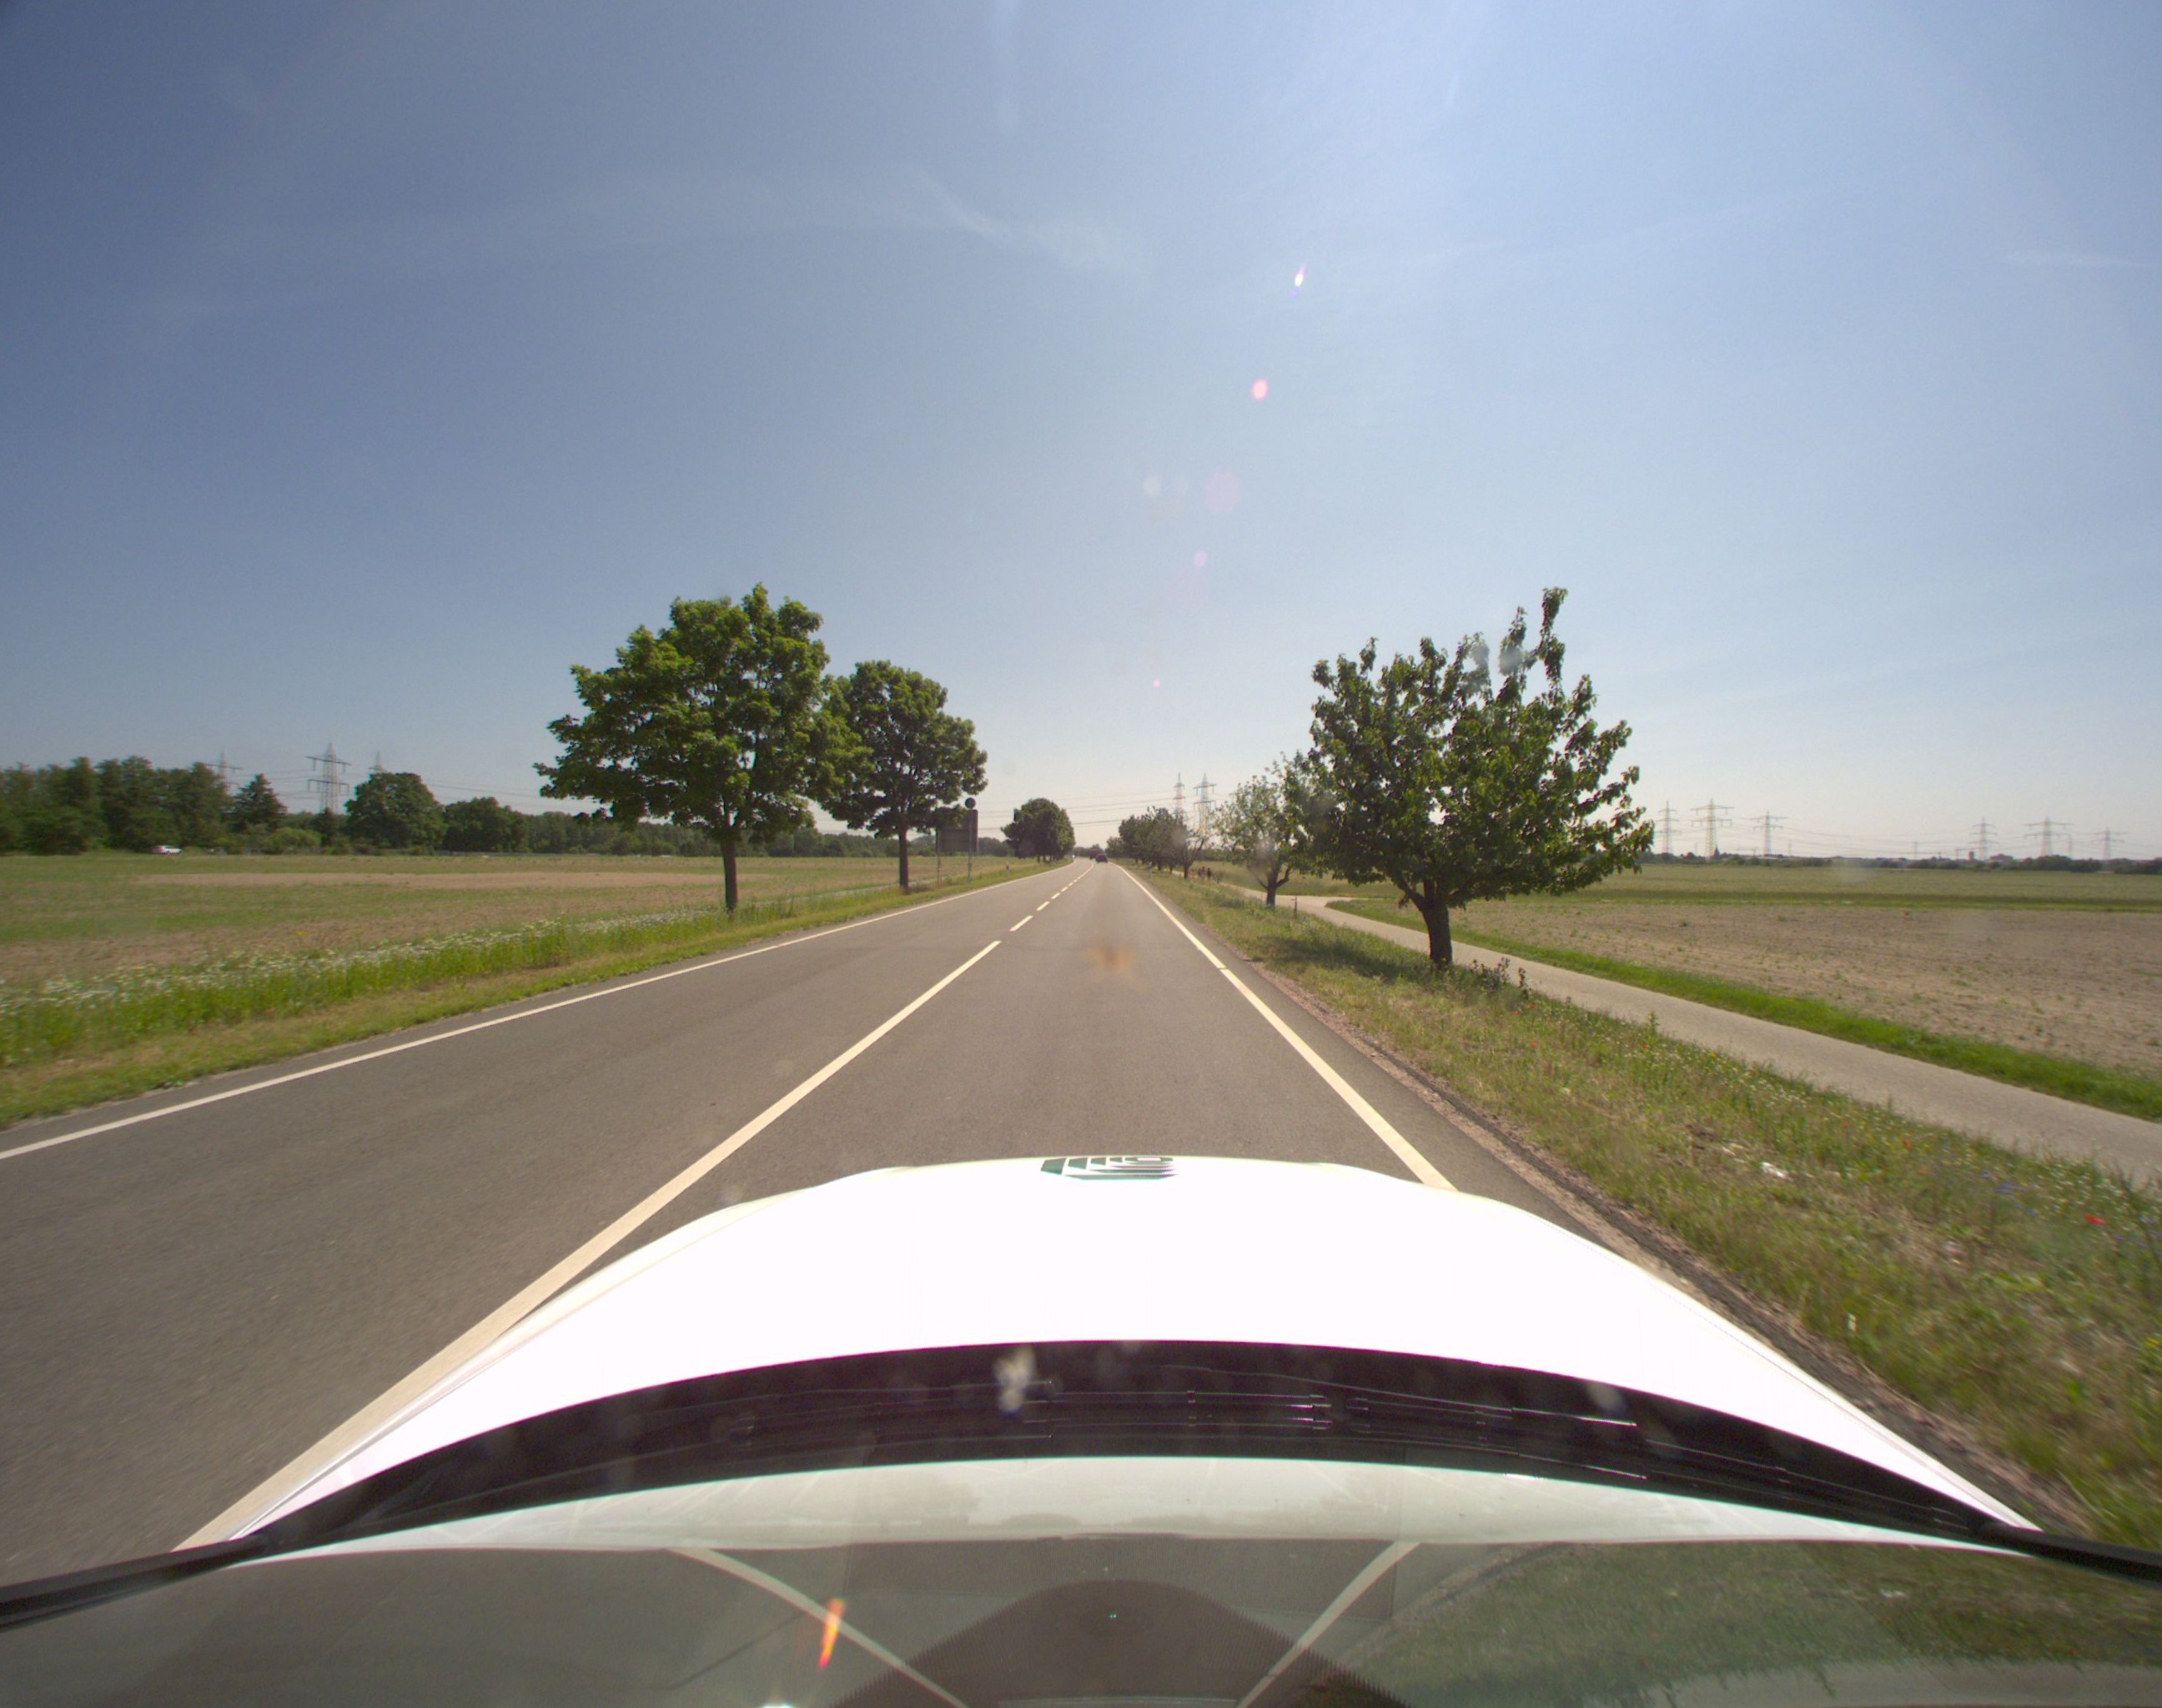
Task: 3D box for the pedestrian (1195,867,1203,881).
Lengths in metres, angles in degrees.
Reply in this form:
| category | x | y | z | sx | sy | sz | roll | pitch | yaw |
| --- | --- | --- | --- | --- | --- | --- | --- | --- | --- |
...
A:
| category | x | y | z | sx | sy | sz | roll | pitch | yaw |
| --- | --- | --- | --- | --- | --- | --- | --- | --- | --- |
| pedestrian | 10.648 | 1.797 | 73.483 | 0.481 | 1.295 | 0.445 | 0 | 0 | 34 |

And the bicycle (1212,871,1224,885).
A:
| category | x | y | z | sx | sy | sz | roll | pitch | yaw |
| --- | --- | --- | --- | --- | --- | --- | --- | --- | --- |
| bicycle | 11.766 | 2.086 | 70.001 | 0.476 | 1.165 | 1.675 | 0 | 0 | -13 |

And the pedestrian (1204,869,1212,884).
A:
| category | x | y | z | sx | sy | sz | roll | pitch | yaw |
| --- | --- | --- | --- | --- | --- | --- | --- | --- | --- |
| pedestrian | 11.377 | 2.017 | 72.885 | 0.444 | 1.295 | 0.481 | 0 | 0 | -43 |

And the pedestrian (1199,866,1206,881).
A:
| category | x | y | z | sx | sy | sz | roll | pitch | yaw |
| --- | --- | --- | --- | --- | --- | --- | --- | --- | --- |
| pedestrian | 11.018 | 1.787 | 73.901 | 0.481 | 1.314 | 0.445 | 0 | 0 | 44 |

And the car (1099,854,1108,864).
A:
| category | x | y | z | sx | sy | sz | roll | pitch | yaw |
| --- | --- | --- | --- | --- | --- | --- | --- | --- | --- |
| car | 4.160 | 0.910 | 150.024 | 1.709 | 1.694 | 3.989 | 0 | -1 | 1 |

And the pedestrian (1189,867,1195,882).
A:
| category | x | y | z | sx | sy | sz | roll | pitch | yaw |
| --- | --- | --- | --- | --- | --- | --- | --- | --- | --- |
| pedestrian | 9.915 | 1.806 | 72.871 | 0.440 | 1.295 | 0.486 | 0 | 0 | -6 |

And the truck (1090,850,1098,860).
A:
| category | x | y | z | sx | sy | sz | roll | pitch | yaw |
| --- | --- | --- | --- | --- | --- | --- | --- | --- | --- |
| truck | 4.117 | 0.287 | 258.388 | 2.364 | 3.140 | 8.742 | 1 | 0 | -2 |
